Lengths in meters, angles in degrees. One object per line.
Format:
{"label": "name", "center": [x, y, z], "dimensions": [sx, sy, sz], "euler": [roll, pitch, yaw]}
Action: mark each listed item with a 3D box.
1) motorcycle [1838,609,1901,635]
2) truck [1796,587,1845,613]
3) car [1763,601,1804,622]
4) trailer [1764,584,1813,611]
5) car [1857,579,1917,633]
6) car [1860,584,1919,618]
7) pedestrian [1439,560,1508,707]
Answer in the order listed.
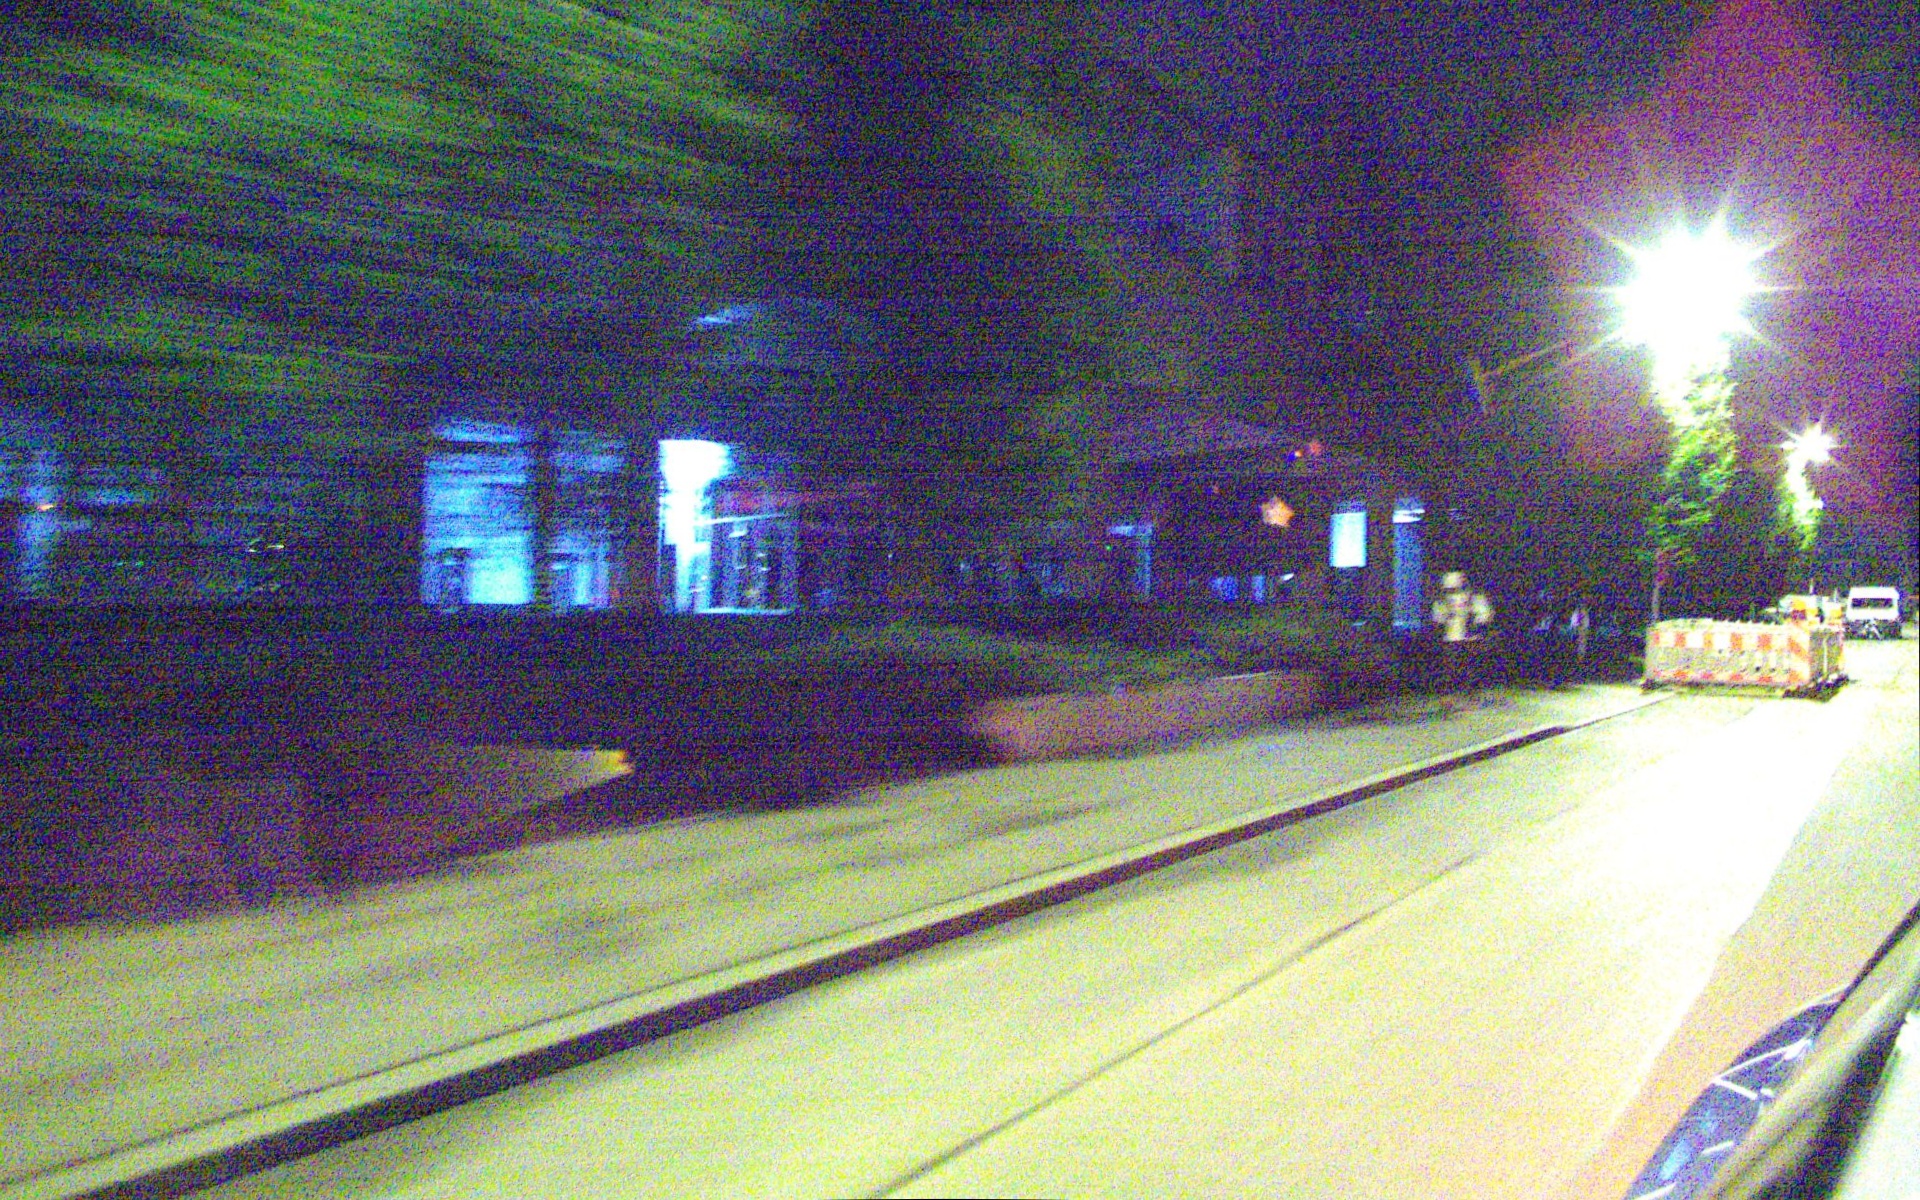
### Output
{"label": "motorcycle", "center": [43.295, 1.022, 48.217], "dimensions": [0.752, 1.199, 2.189], "euler": [0, 0, -13]}
{"label": "truck", "center": [99.073, 0.006, 116.587], "dimensions": [1.976, 2.819, 7.193], "euler": [1, 0, 21]}
{"label": "car", "center": [84.337, 1.160, 103.741], "dimensions": [1.979, 2.039, 5.306], "euler": [-1, -1, 26]}
{"label": "trailer", "center": [102.052, -0.304, 124.777], "dimensions": [2.463, 3.111, 7.889], "euler": [1, 0, 23]}
{"label": "car", "center": [46.494, 0.290, 50.710], "dimensions": [2.021, 2.559, 5.954], "euler": [0, -1, 44]}
{"label": "car", "center": [94.770, 0.065, 102.971], "dimensions": [2.361, 3.284, 7.181], "euler": [1, 0, 21]}
{"label": "pedestrian", "center": [6.815, 0.425, 13.421], "dimensions": [0.806, 1.876, 0.571], "euler": [1, 0, -44]}
